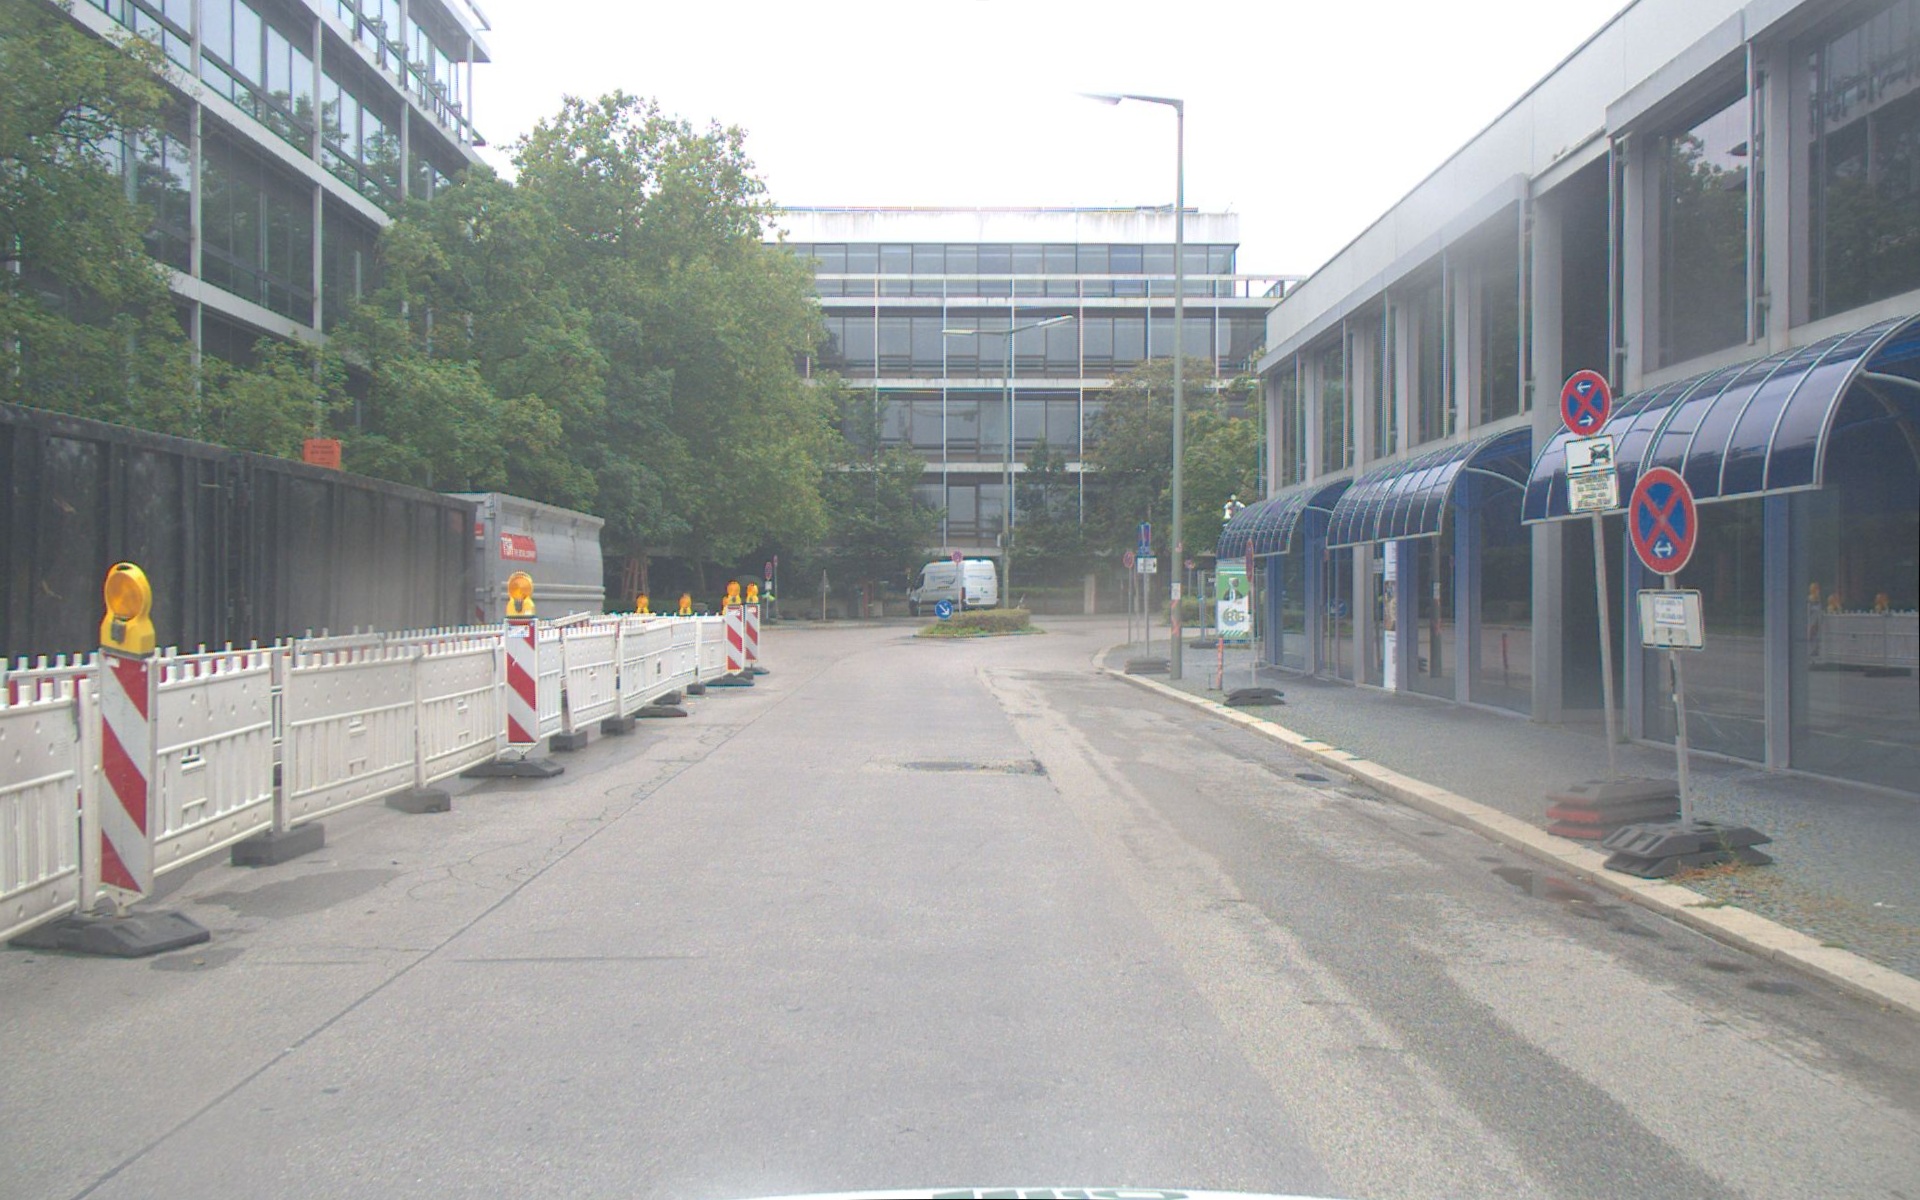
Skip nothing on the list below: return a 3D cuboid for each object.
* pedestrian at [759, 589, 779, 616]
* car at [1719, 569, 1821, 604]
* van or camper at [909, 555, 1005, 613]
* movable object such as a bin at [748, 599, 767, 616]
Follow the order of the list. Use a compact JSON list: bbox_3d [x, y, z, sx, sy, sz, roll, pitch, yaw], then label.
[{"bbox_3d":[-9.084,0.107,78.742,0.907,1.300,0.542,0,0,1],"label":"pedestrian"},{"bbox_3d":[38.868,-0.662,79.401,3.905,1.601,2.000,-1,1,0],"label":"car"},{"bbox_3d":[-0.209,-0.718,81.051,2.129,2.626,6.483,0,-1,-26],"label":"van or camper"},{"bbox_3d":[-9.639,0.361,78.697,0.817,0.766,0.572,0,0,2],"label":"movable object such as a bin"}]
